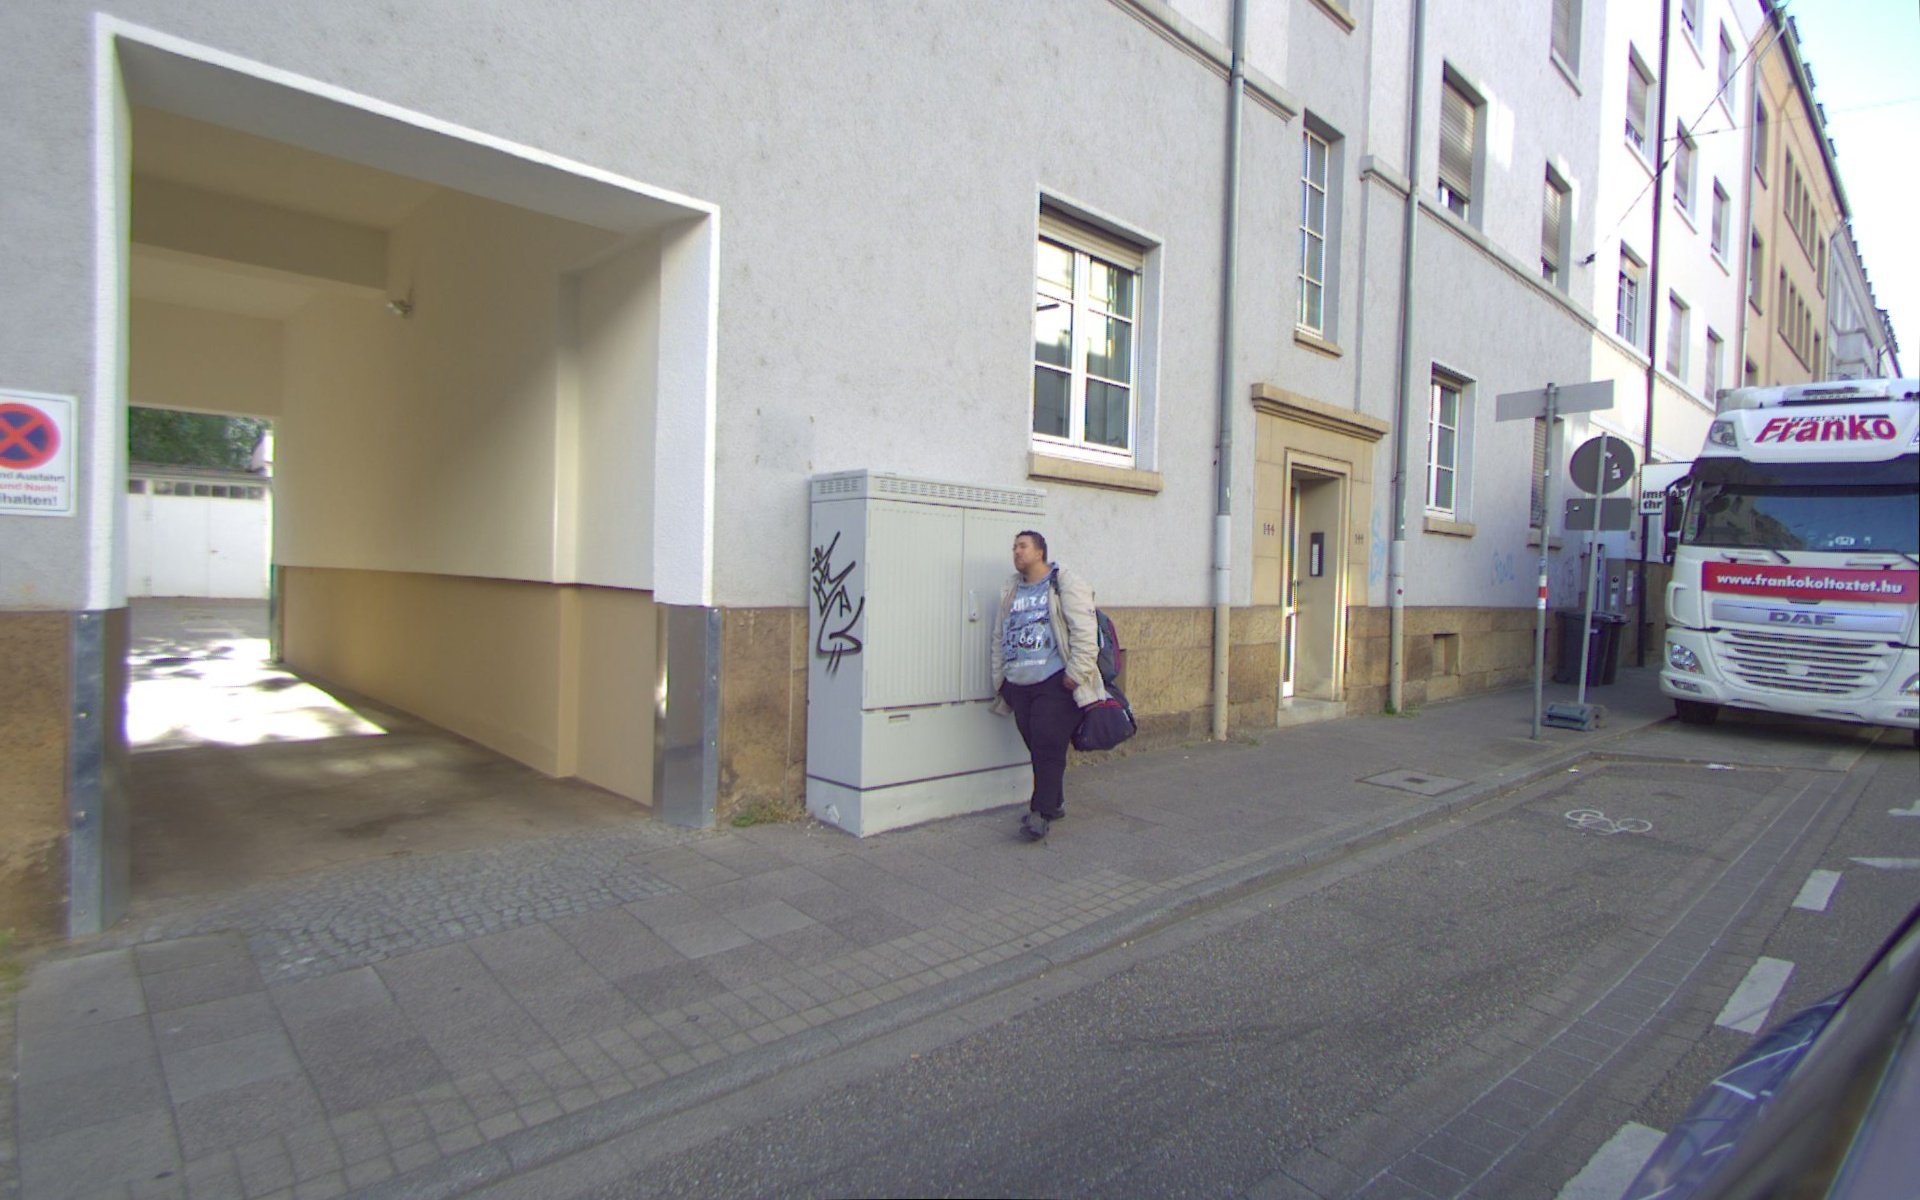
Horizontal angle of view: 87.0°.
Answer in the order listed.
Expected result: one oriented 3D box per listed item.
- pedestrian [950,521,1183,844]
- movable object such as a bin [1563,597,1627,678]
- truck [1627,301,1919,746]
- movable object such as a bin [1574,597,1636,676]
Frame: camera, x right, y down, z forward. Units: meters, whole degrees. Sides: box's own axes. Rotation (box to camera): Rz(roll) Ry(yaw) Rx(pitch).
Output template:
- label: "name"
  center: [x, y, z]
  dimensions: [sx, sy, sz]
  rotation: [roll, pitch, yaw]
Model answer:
- label: "pedestrian"
  center: [0.571, 0.381, 5.485]
  dimensions: [0.854, 1.552, 0.827]
  rotation: [0, 3, -42]
- label: "movable object such as a bin"
  center: [9.161, 0.526, 14.606]
  dimensions: [0.658, 1.118, 0.533]
  rotation: [2, 2, 44]
- label: "truck"
  center: [12.589, -0.749, 13.936]
  dimensions: [11.578, 4.123, 2.864]
  rotation: [0, 2, -43]
- label: "movable object such as a bin"
  center: [9.572, 0.521, 15.020]
  dimensions: [0.658, 1.118, 0.533]
  rotation: [2, 2, 44]
